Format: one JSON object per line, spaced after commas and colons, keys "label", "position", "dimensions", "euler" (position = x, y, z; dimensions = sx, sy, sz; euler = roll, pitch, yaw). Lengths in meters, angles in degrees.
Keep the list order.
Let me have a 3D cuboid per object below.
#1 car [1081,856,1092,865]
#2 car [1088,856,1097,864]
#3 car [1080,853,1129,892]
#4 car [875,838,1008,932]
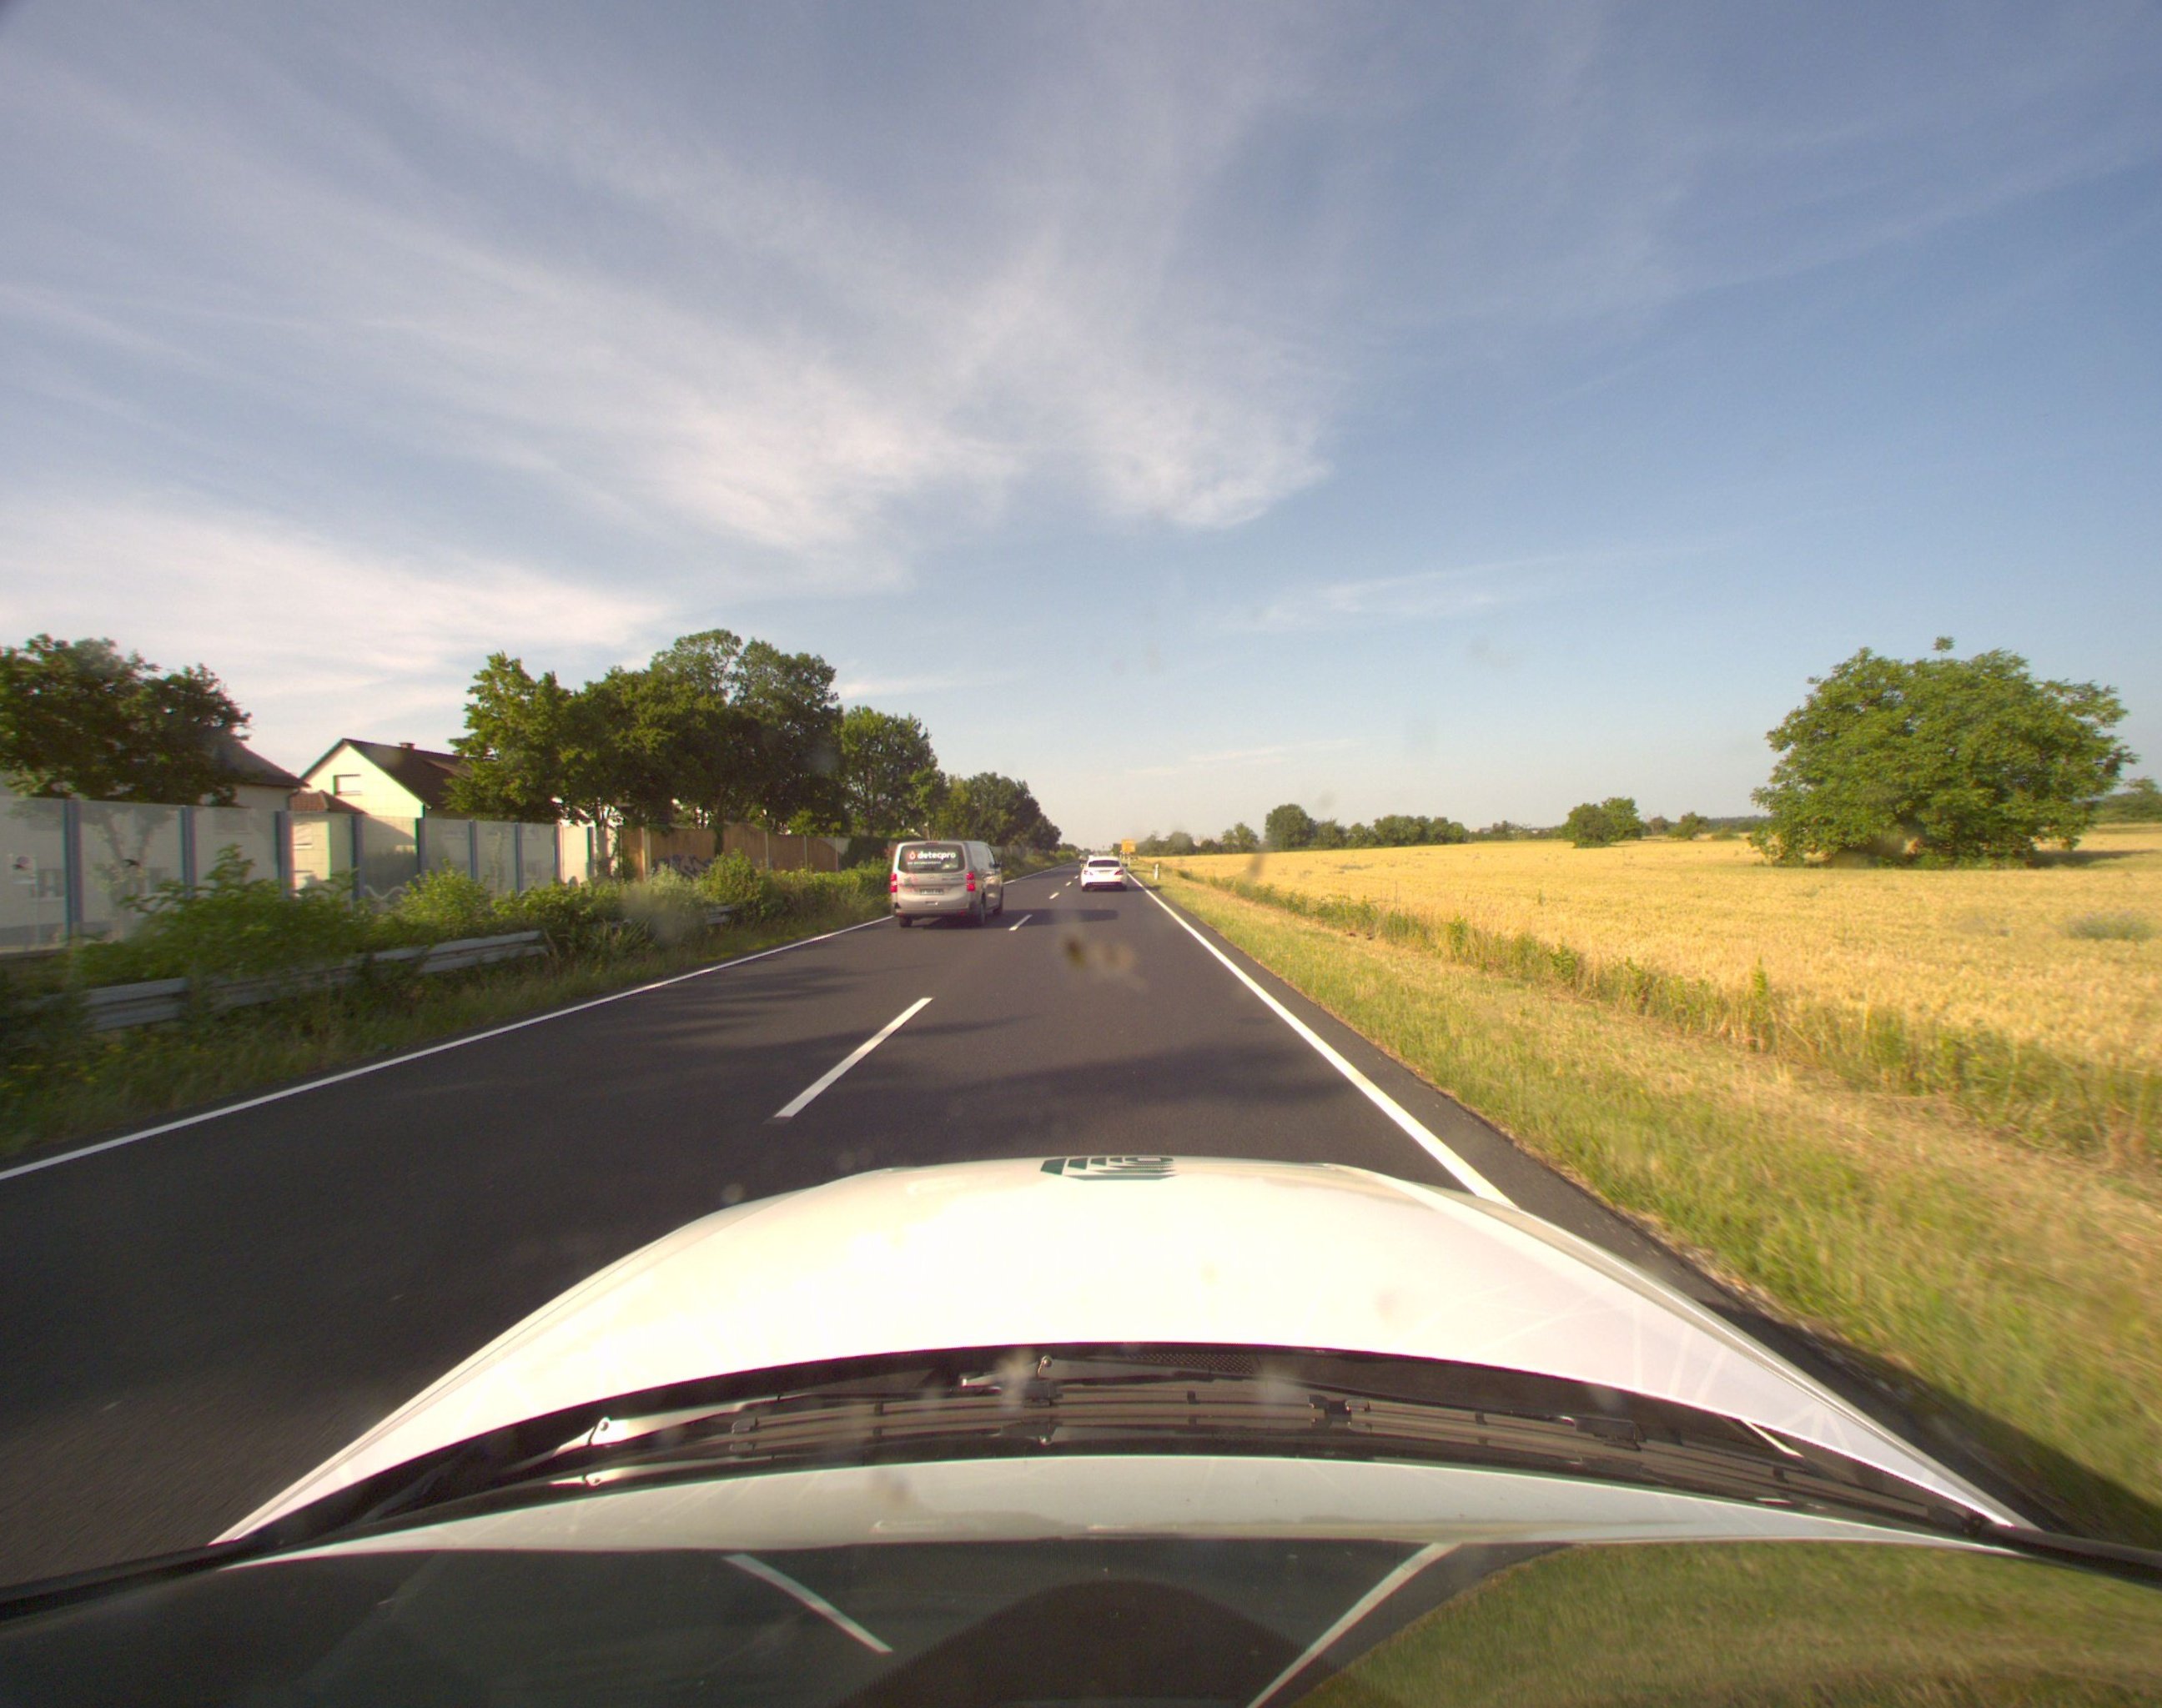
{"label": "car", "position": [0.950, 1.174, 139.851], "dimensions": [1.710, 1.492, 3.586], "euler": [0, -1, 2]}
{"label": "car", "position": [2.292, 1.212, 165.317], "dimensions": [1.871, 1.651, 3.664], "euler": [0, -1, 0]}
{"label": "car", "position": [1.003, 0.749, 34.499], "dimensions": [1.887, 1.509, 4.001], "euler": [-1, -1, 2]}
{"label": "car", "position": [-3.055, 0.626, 19.035], "dimensions": [2.017, 1.892, 4.962], "euler": [0, 0, 3]}
